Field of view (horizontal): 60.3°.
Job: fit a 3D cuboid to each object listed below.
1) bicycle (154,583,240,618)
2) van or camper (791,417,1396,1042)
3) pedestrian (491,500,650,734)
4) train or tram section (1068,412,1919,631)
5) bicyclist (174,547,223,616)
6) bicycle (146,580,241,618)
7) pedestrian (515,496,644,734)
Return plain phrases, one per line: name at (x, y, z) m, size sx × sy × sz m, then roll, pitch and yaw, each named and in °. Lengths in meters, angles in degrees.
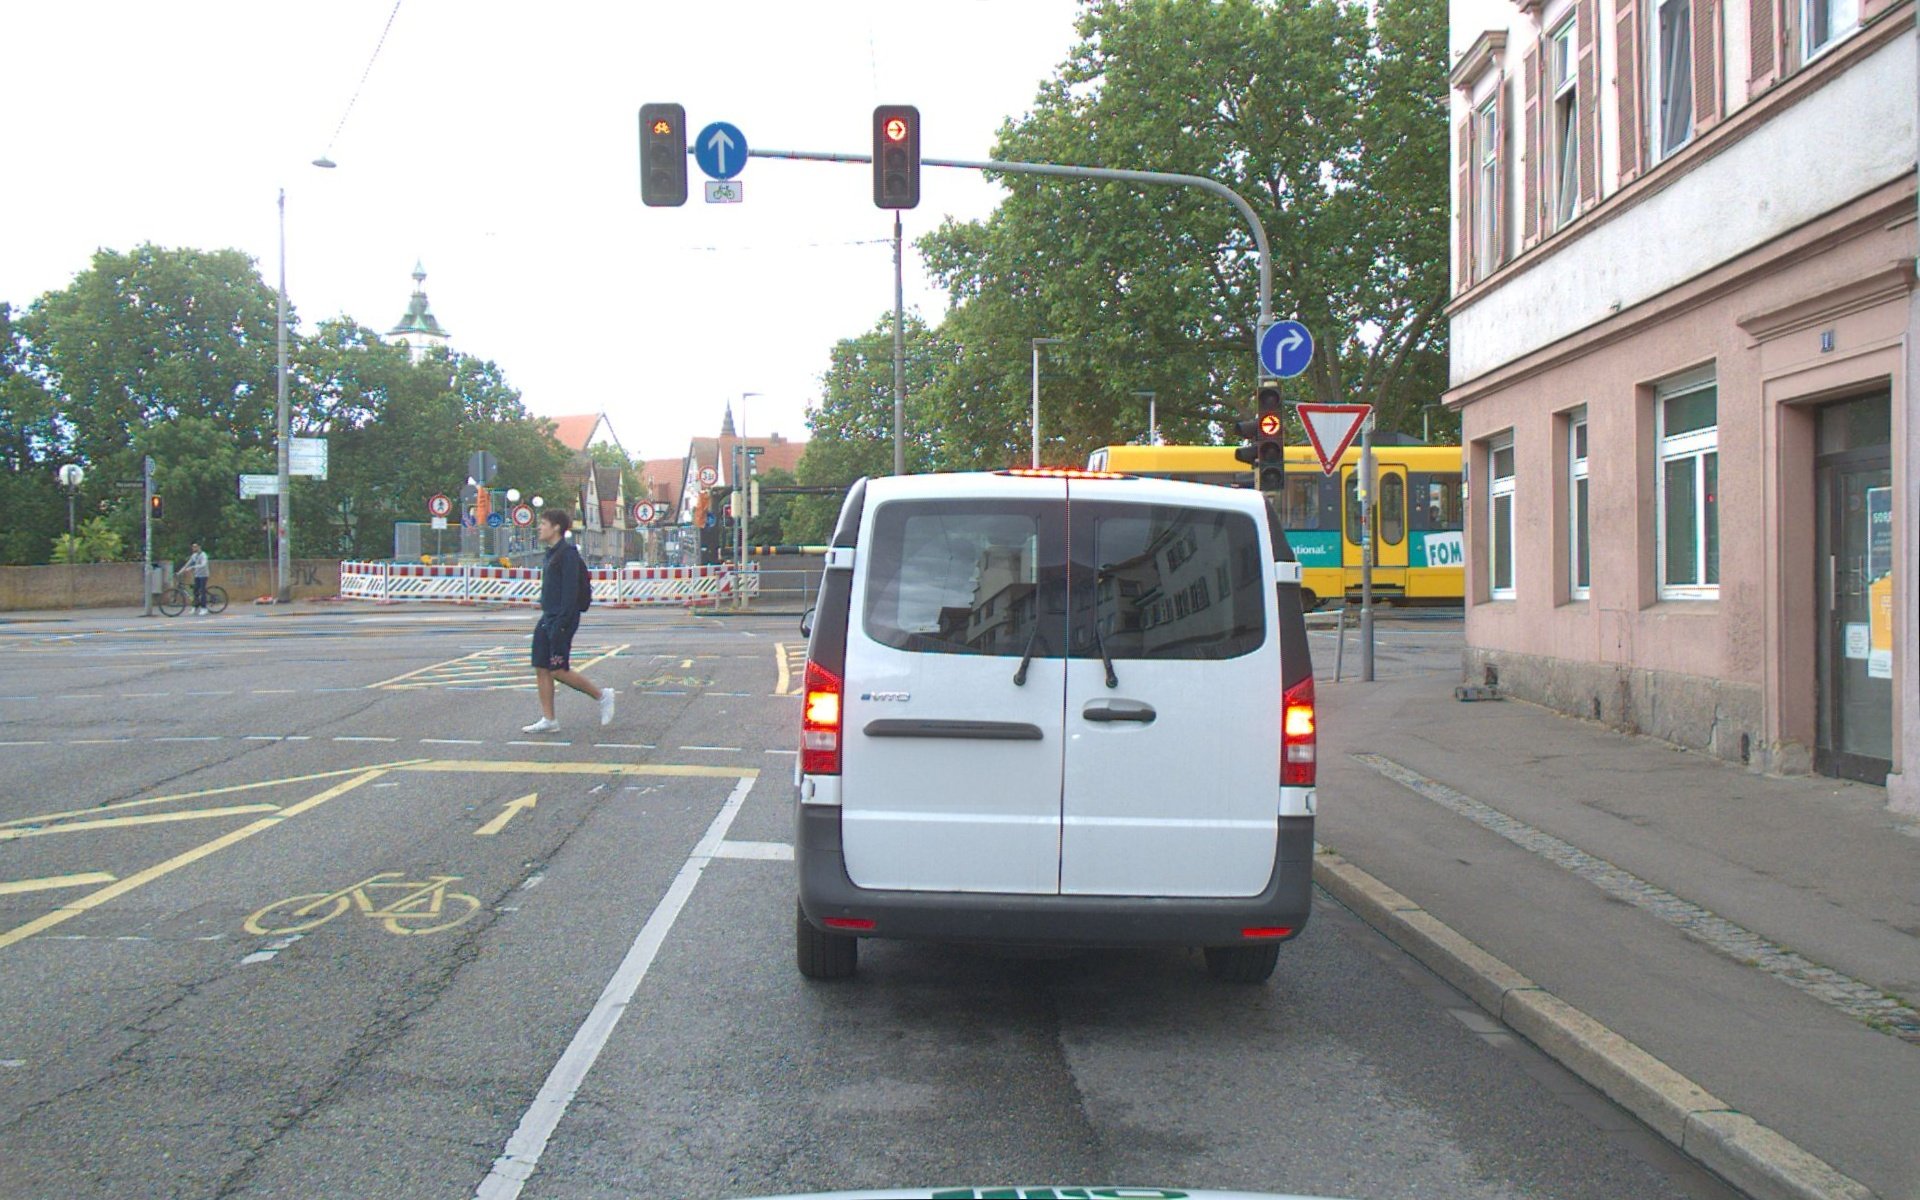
bicycle at (-19.637, 0.000, 42.601) m, size 0.551 × 0.881 × 1.937 m, roll 0°, pitch 1°, yaw 45°
van or camper at (0.317, 0.389, 7.462) m, size 1.899 × 1.958 × 4.438 m, roll 1°, pitch 1°, yaw -3°
pedestrian at (-3.283, 0.105, 13.951) m, size 1.138 × 1.888 × 0.672 m, roll -2°, pitch 3°, yaw -31°
train or tram section at (11.900, -1.747, 35.189) m, size 18.856 × 4.072 × 3.306 m, roll -1°, pitch 3°, yaw -6°
bicyclist at (-19.655, -0.483, 42.690) m, size 0.995 × 1.774 × 0.744 m, roll 0°, pitch 1°, yaw -40°
bicycle at (-19.741, -0.031, 42.622) m, size 2.118 × 0.907 × 0.749 m, roll -1°, pitch 2°, yaw -41°
pedestrian at (-3.221, 0.131, 13.980) m, size 0.988 × 1.948 × 0.622 m, roll 1°, pitch 0°, yaw -19°
